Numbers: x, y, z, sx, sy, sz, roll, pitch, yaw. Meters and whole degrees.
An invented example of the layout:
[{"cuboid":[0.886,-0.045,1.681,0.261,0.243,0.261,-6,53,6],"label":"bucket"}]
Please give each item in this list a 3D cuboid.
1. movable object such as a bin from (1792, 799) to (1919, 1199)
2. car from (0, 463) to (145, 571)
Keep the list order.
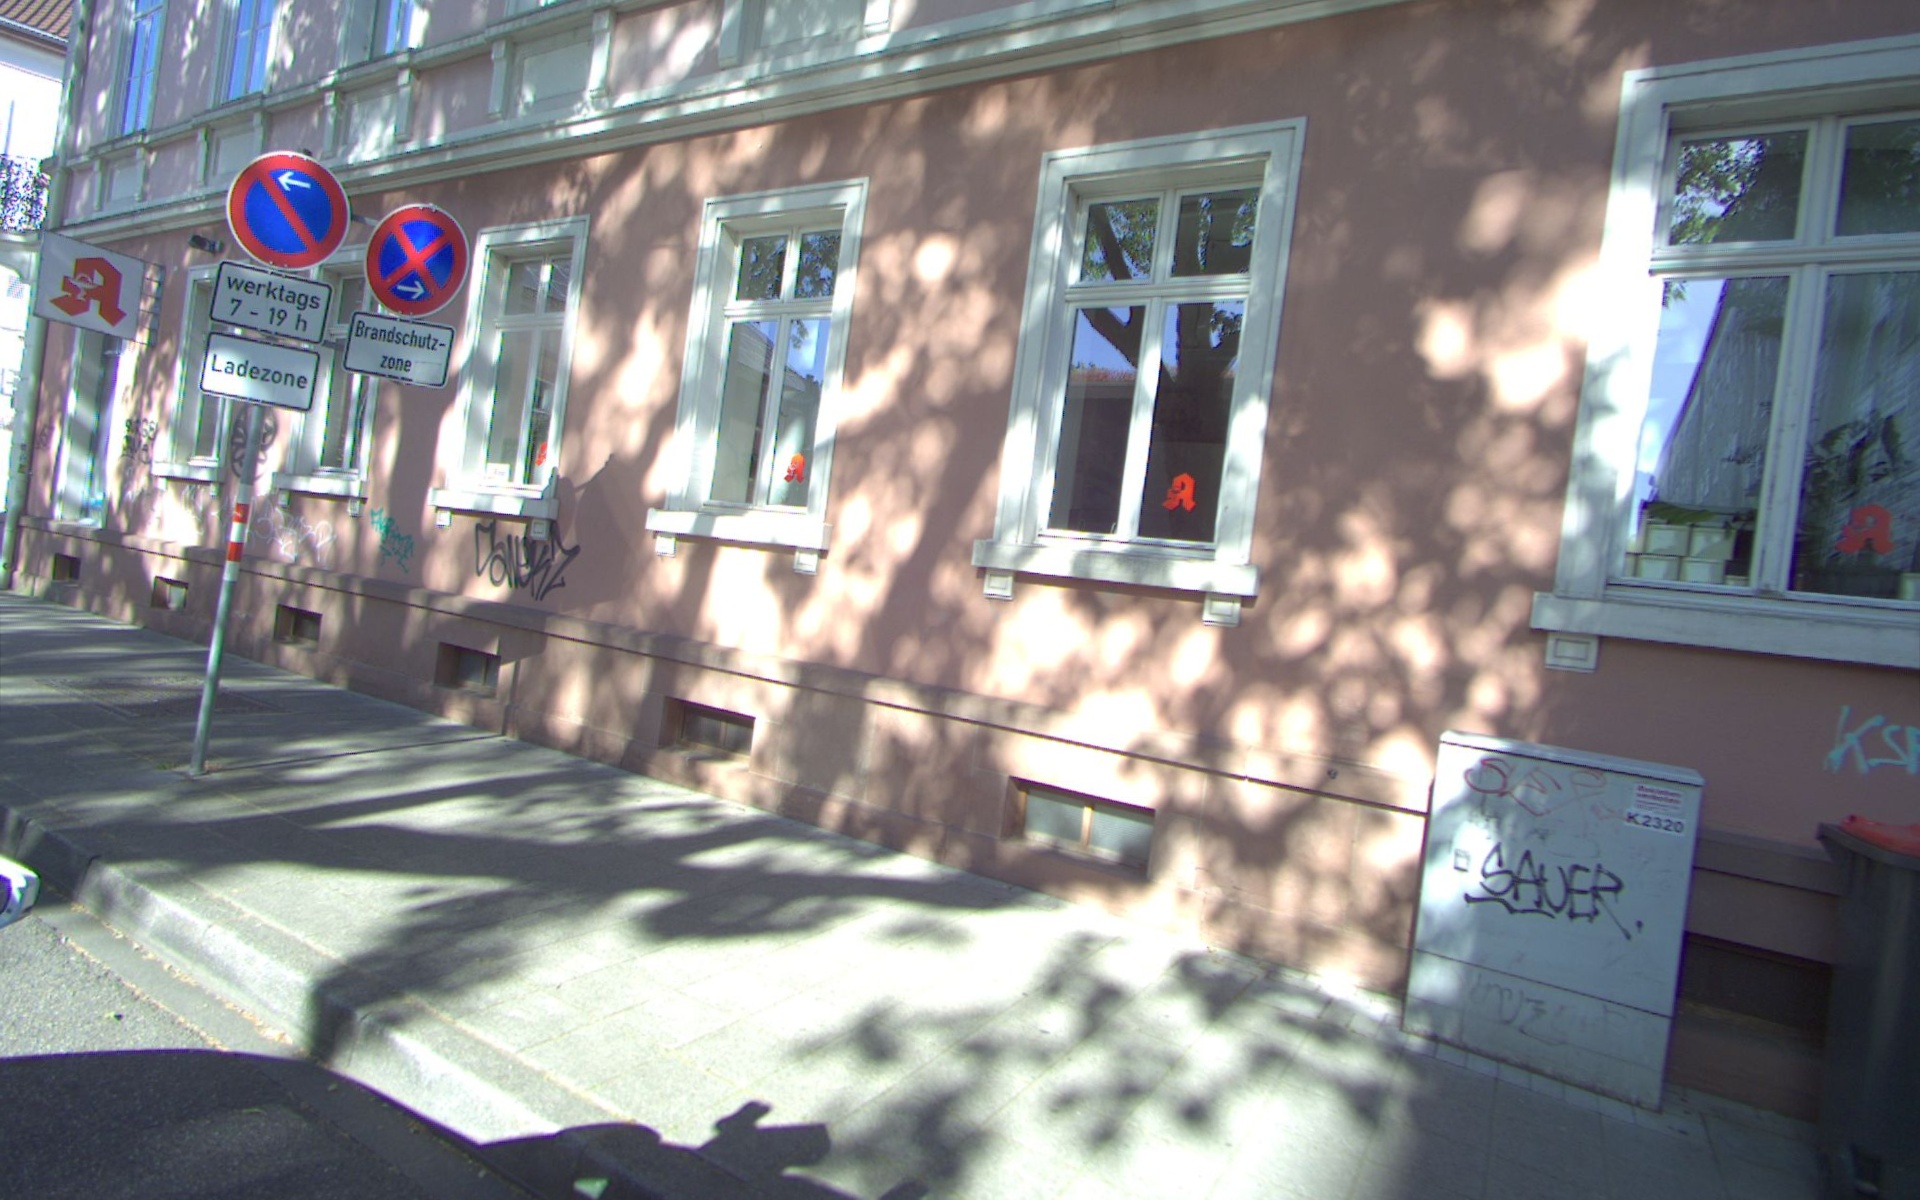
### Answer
[{"cuboid":[2.836,1.191,2.789,0.624,1.099,0.746,7,0,33],"label":"movable object such as a bin"},{"cuboid":[-20.821,-1.932,21.563,4.862,1.950,1.983,9,-3,-35],"label":"car"}]
